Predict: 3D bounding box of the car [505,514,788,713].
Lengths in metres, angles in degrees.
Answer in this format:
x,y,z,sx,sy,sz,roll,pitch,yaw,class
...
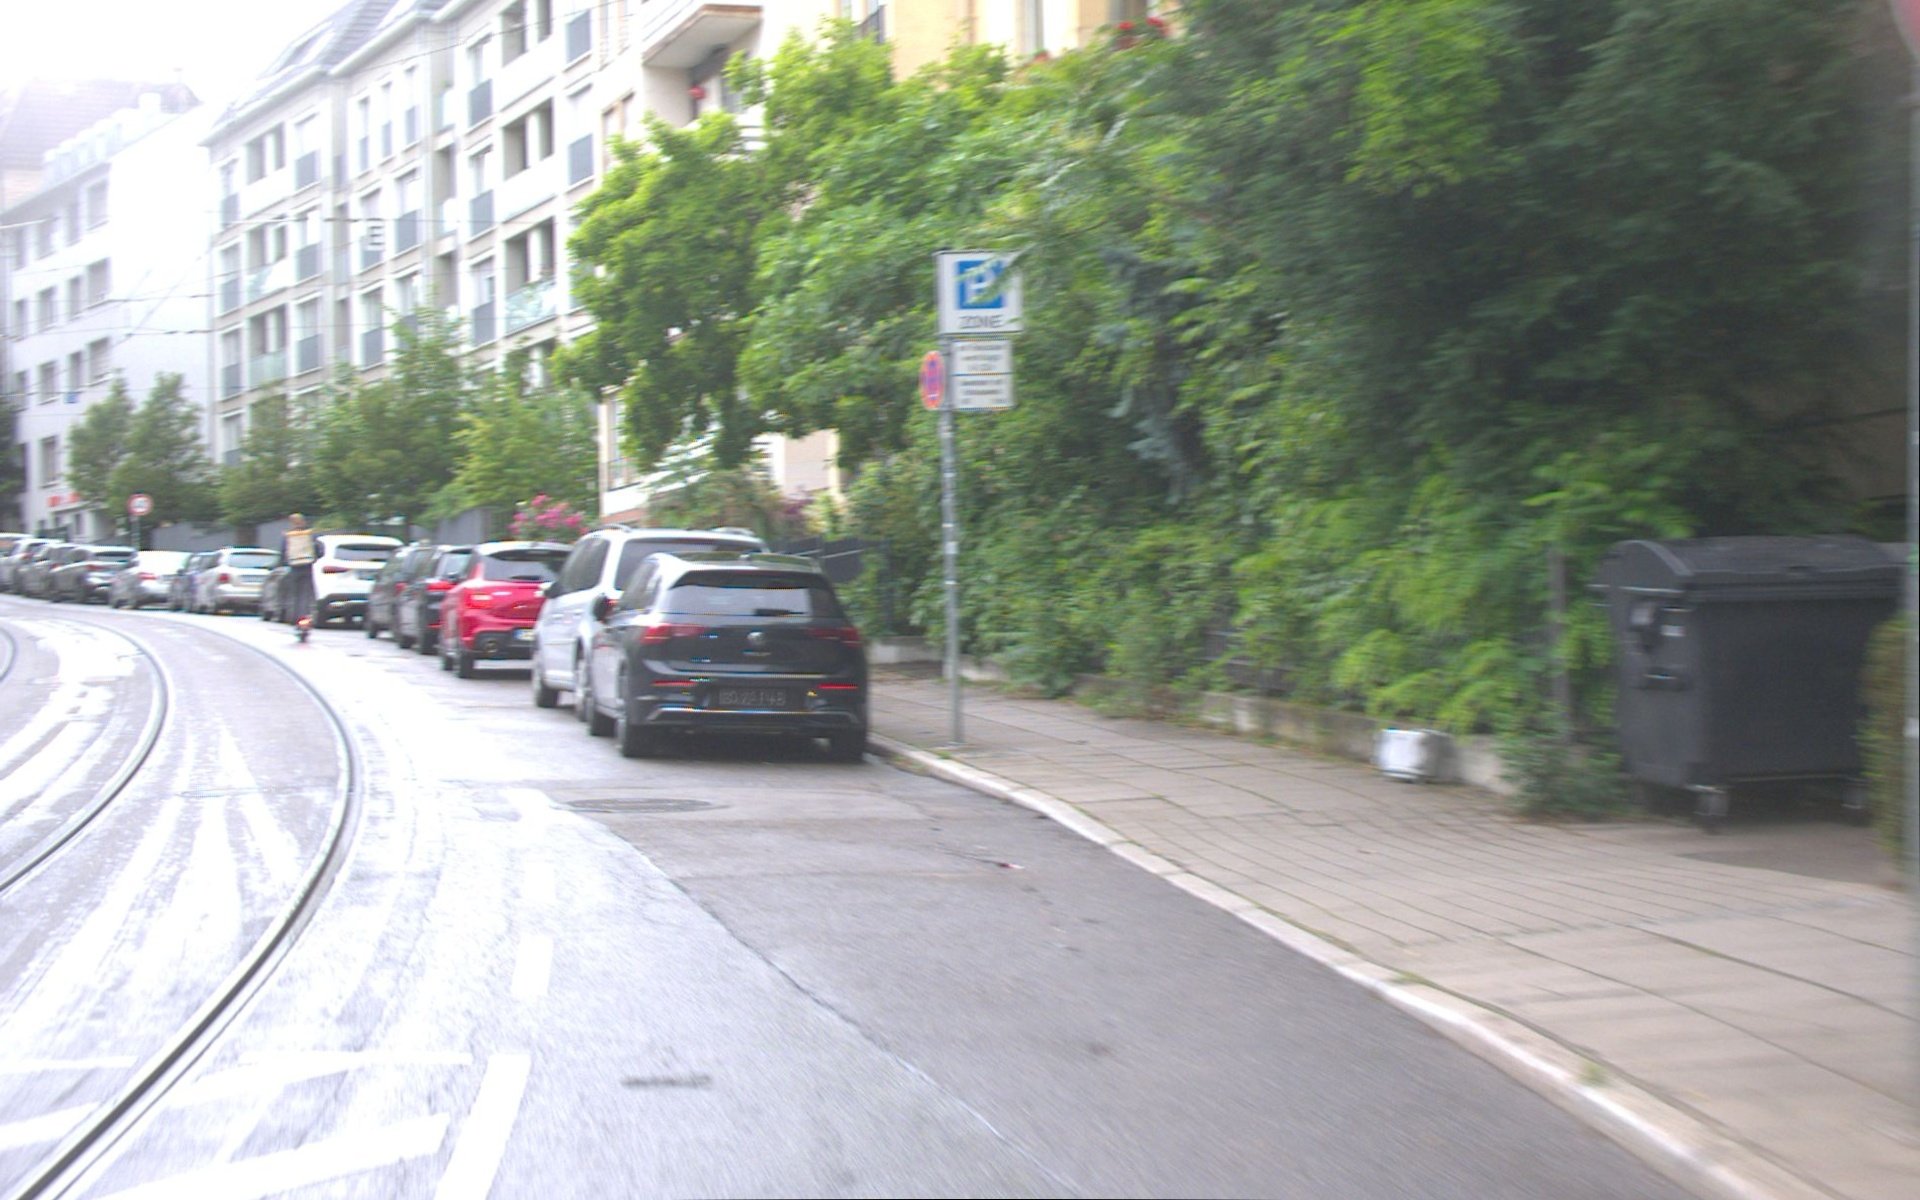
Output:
x,y,z,sx,sy,sz,roll,pitch,yaw,class
-2.847,0.083,30.374,1.765,1.598,4.290,-1,1,-15,car

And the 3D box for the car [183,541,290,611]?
x,y,z,sx,sy,sz,roll,pitch,yaw,class
-15.963,-0.526,75.722,1.661,1.466,4.509,1,0,-20,car

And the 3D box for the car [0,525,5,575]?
x,y,z,sx,sy,sz,roll,pitch,yaw,class
-33.659,-1.740,116.232,1.766,1.678,4.249,1,1,-27,car

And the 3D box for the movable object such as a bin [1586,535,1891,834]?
x,y,z,sx,sy,sz,roll,pitch,yaw,class
3.916,0.402,17.333,1.225,1.398,0.823,-3,3,-17,movable object such as a bin

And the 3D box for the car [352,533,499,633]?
x,y,z,sx,sy,sz,roll,pitch,yaw,class
-8.081,-0.280,51.729,1.556,1.432,4.305,1,1,-17,car

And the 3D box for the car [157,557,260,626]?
x,y,z,sx,sy,sz,roll,pitch,yaw,class
-17.497,-0.206,79.966,1.701,1.507,3.715,1,1,-22,car

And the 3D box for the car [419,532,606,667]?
x,y,z,sx,sy,sz,roll,pitch,yaw,class
-5.085,-0.033,38.713,1.721,1.432,3.842,1,1,-13,car

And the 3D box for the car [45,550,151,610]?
x,y,z,sx,sy,sz,roll,pitch,yaw,class
-24.060,-0.566,95.882,1.766,1.610,4.248,-1,1,-30,car

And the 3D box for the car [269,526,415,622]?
x,y,z,sx,sy,sz,roll,pitch,yaw,class
-10.855,-0.470,60.200,1.836,1.567,4.249,2,0,-19,car

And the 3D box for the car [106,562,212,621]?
x,y,z,sx,sy,sz,roll,pitch,yaw,class
-20.239,-0.232,86.756,1.761,1.430,4.640,-1,1,-24,car

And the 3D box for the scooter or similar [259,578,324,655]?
x,y,z,sx,sy,sz,roll,pitch,yaw,class
-9.710,0.227,49.898,0.513,1.046,2.009,2,0,-22,scooter or similar

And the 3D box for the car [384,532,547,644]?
x,y,z,sx,sy,sz,roll,pitch,yaw,class
-6.738,-0.191,46.540,1.683,1.432,4.065,1,1,-15,car

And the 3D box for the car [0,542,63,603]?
x,y,z,sx,sy,sz,roll,pitch,yaw,class
-29.094,-0.878,106.350,1.766,1.781,4.249,1,1,-26,car

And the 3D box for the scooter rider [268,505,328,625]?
x,y,z,sx,sy,sz,roll,pitch,yaw,class
-9.632,-0.514,50.011,0.623,1.700,0.844,3,0,-22,scooter rider

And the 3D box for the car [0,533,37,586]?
x,y,z,sx,sy,sz,roll,pitch,yaw,class
-31.444,-1.340,111.797,1.766,1.678,4.249,1,1,-28,car

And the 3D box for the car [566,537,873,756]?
x,y,z,sx,sy,sz,roll,pitch,yaw,class
-1.854,0.286,25.359,1.765,1.386,4.002,1,2,-11,car
